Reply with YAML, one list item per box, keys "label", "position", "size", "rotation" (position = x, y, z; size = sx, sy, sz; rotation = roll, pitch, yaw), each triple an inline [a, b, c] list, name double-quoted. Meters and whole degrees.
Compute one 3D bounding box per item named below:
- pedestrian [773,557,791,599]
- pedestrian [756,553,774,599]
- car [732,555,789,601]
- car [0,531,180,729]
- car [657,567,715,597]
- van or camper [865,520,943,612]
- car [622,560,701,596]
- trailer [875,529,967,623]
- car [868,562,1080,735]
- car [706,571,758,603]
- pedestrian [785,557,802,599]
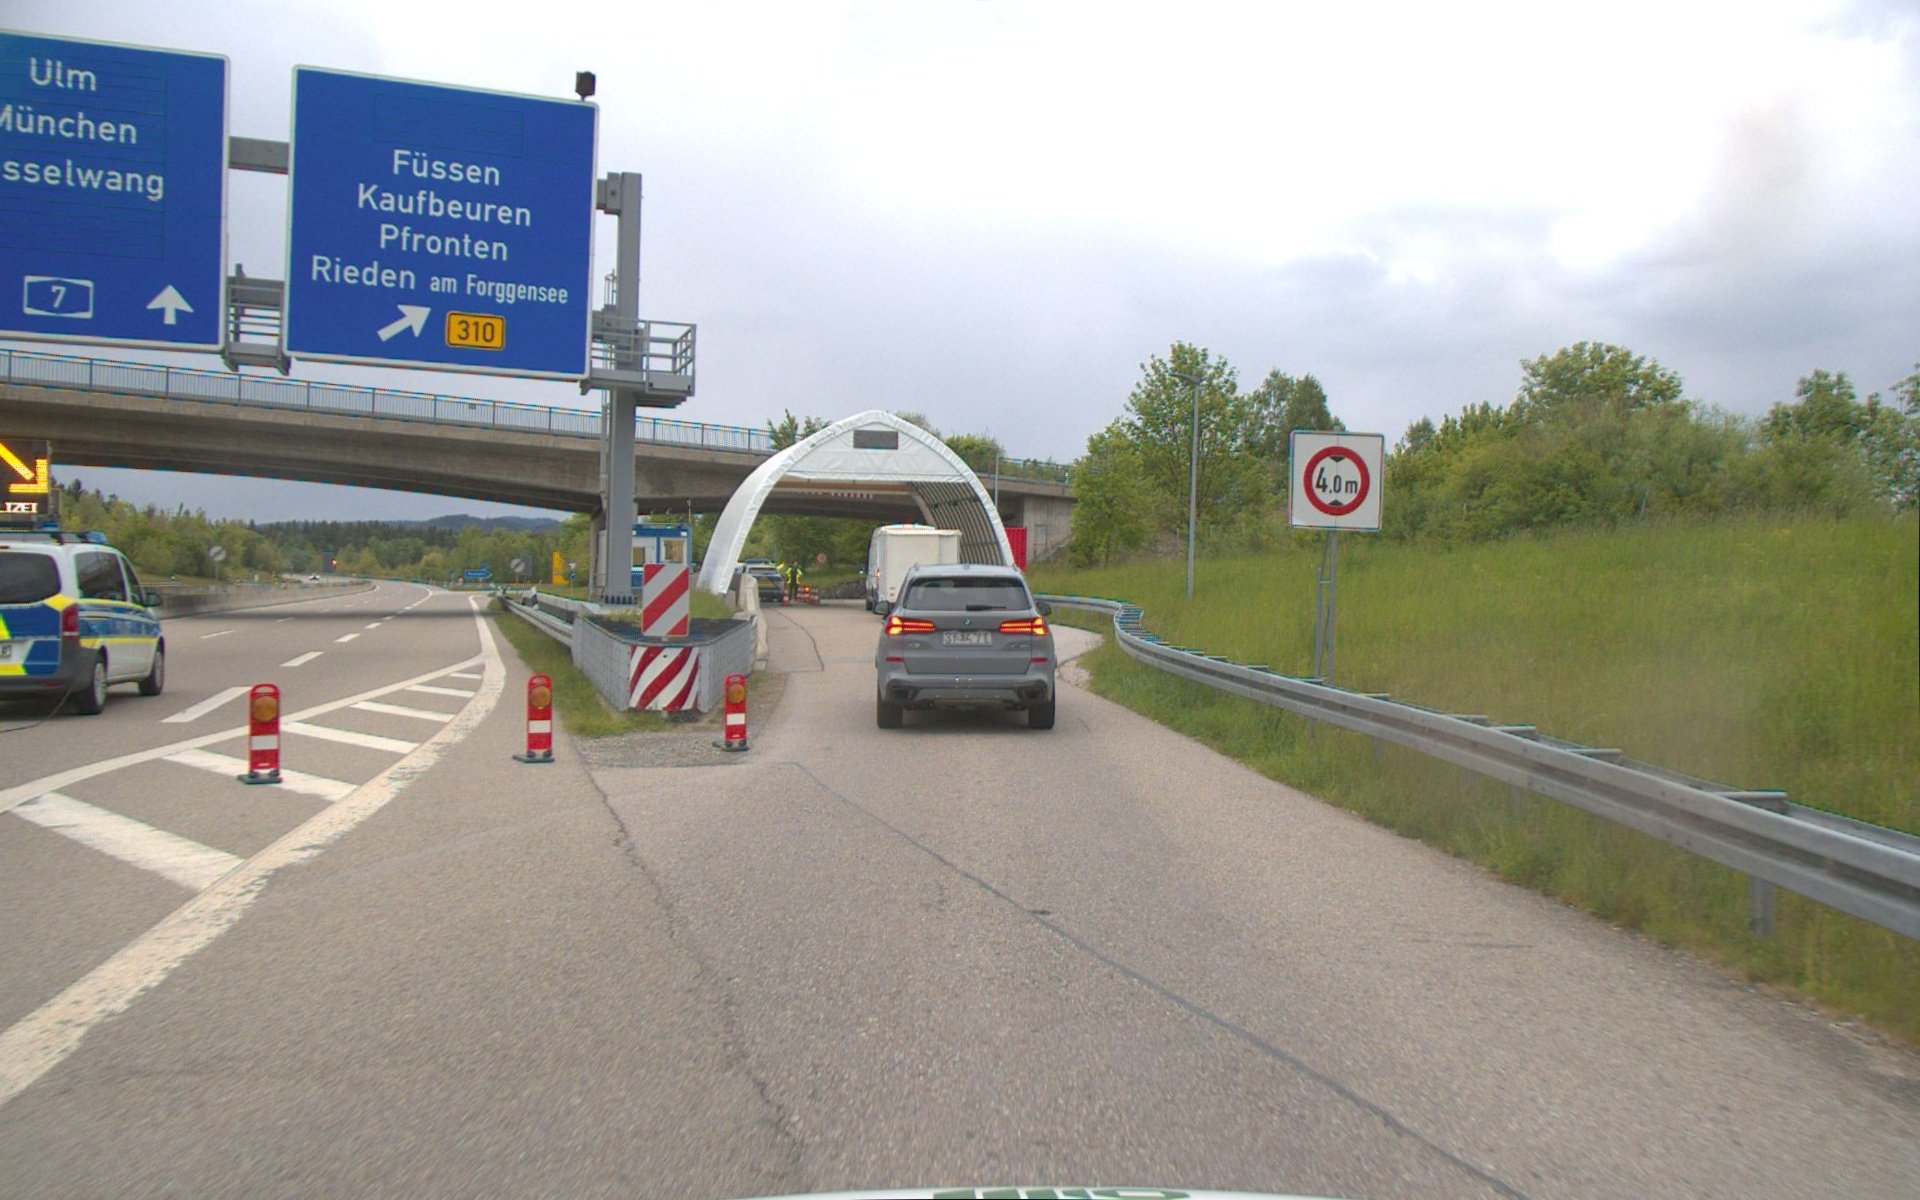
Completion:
- label: "pedestrian"
  position: [-7.568, -0.934, 70.297]
  size: [0.707, 1.806, 0.688]
  rotation: [0, 0, -13]
- label: "pedestrian"
  position: [-8.423, -1.021, 71.337]
  size: [0.707, 1.979, 0.688]
  rotation: [0, 0, -13]
- label: "car"
  position: [-8.206, -0.895, 67.715]
  size: [1.959, 1.803, 3.753]
  rotation: [0, 1, -13]
- label: "car"
  position: [-10.816, 0.260, 19.456]
  size: [2.250, 2.049, 5.026]
  rotation: [0, 1, -17]
- label: "car"
  position: [-13.730, -0.896, 82.687]
  size: [1.504, 1.467, 3.270]
  rotation: [-1, 1, -38]
- label: "van or camper"
  position: [-1.874, -1.035, 53.546]
  size: [2.115, 2.812, 5.863]
  rotation: [0, 0, -6]
- label: "car"
  position: [-16.208, -1.198, 89.969]
  size: [3.904, 1.886, 1.710]
  rotation: [0, 1, 3]
- label: "trailer"
  position: [-1.210, -0.638, 47.245]
  size: [2.234, 2.473, 6.810]
  rotation: [0, 0, -5]
- label: "car"
  position: [0.277, 0.479, 18.896]
  size: [1.951, 1.749, 4.003]
  rotation: [0, 0, 7]
- label: "car"
  position: [-15.036, -0.873, 108.897]
  size: [1.974, 2.049, 3.957]
  rotation: [0, 1, -32]
- label: "pedestrian"
  position: [-7.174, -0.963, 71.261]
  size: [0.637, 1.806, 0.603]
  rotation: [0, 0, -15]
